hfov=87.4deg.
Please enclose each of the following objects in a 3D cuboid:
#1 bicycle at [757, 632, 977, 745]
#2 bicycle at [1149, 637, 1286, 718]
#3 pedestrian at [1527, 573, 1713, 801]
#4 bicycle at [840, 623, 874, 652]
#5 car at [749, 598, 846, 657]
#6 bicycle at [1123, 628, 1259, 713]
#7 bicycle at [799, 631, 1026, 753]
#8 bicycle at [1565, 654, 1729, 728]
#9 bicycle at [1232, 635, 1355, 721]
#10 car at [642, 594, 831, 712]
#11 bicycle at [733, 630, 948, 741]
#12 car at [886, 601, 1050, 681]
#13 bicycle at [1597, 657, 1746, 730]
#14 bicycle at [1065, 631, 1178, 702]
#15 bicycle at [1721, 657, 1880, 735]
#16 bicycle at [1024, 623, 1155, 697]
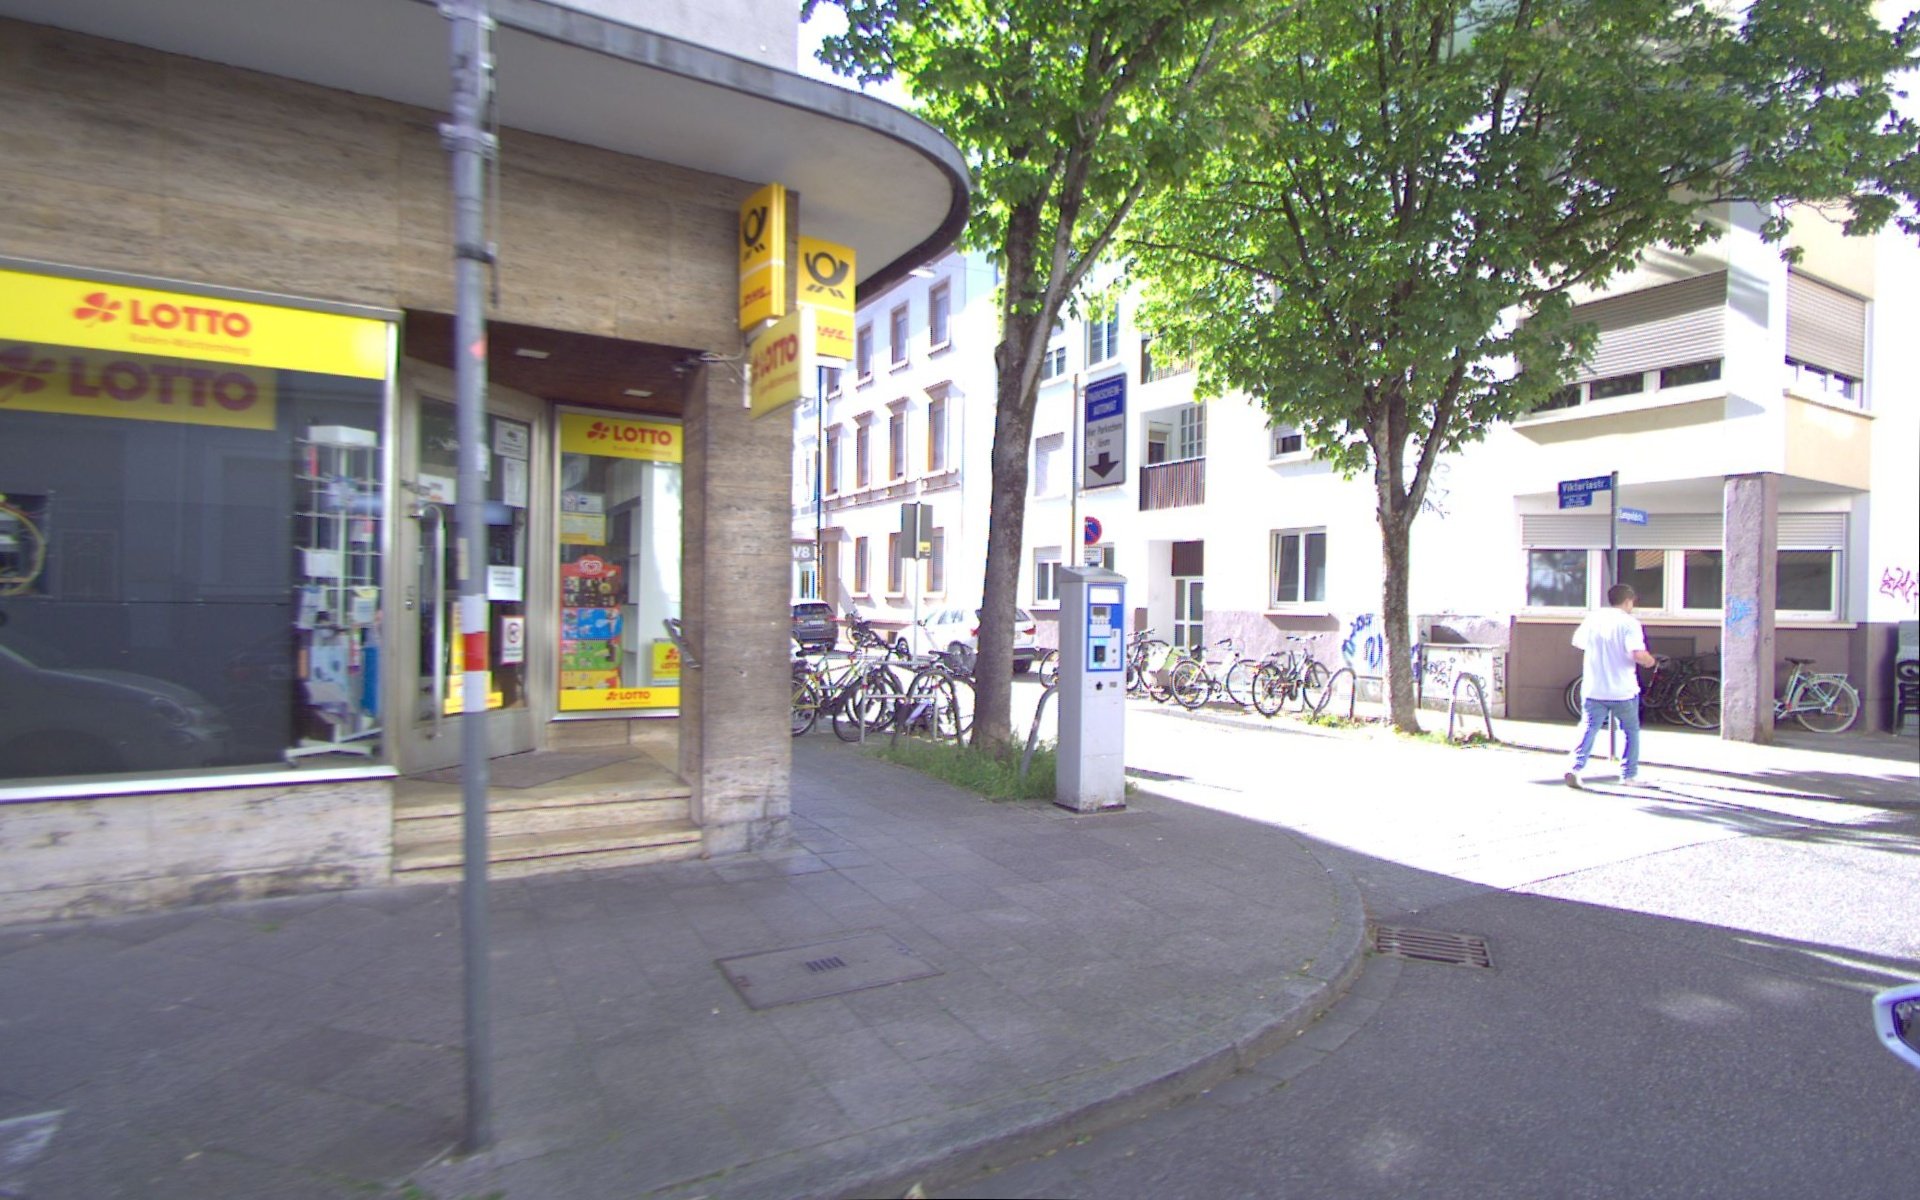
[{"bbox_3d":[-0.977,0.940,10.986,2.376,1.132,0.519,2,-1,-31],"label":"bicycle"},{"bbox_3d":[3.916,1.139,15.203,2.155,1.043,0.637,-2,1,-29],"label":"bicycle"},{"bbox_3d":[5.829,0.725,8.881,1.231,1.857,0.906,2,-1,-30],"label":"pedestrian"},{"bbox_3d":[-3.398,1.208,32.924,0.455,0.863,1.854,0,0,-28],"label":"bicycle"},{"bbox_3d":[-5.302,0.830,32.283,1.842,1.715,4.210,-1,0,-27],"label":"car"},{"bbox_3d":[3.668,1.074,15.828,2.411,1.201,0.500,-1,-1,-31],"label":"bicycle"},{"bbox_3d":[-0.470,0.930,10.512,2.280,1.158,0.704,2,-1,-30],"label":"bicycle"},{"bbox_3d":[9.229,1.215,13.541,1.825,0.925,0.383,1,-1,11],"label":"bicycle"},{"bbox_3d":[4.789,1.086,14.369,2.039,1.116,0.479,0,0,-31],"label":"bicycle"},{"bbox_3d":[-3.699,0.777,16.045,1.878,1.607,4.210,3,-2,-27],"label":"car"},{"bbox_3d":[-1.319,0.943,11.475,2.408,1.142,0.701,3,-2,-38],"label":"bicycle"},{"bbox_3d":[0.077,0.849,22.665,1.971,1.635,4.142,0,0,-28],"label":"car"},{"bbox_3d":[9.258,1.209,13.113,1.553,0.909,0.404,0,-1,11],"label":"bicycle"},{"bbox_3d":[2.843,1.133,17.562,1.974,1.081,0.676,-2,1,-31],"label":"bicycle"},{"bbox_3d":[10.839,1.229,12.990,1.538,0.894,0.431,1,1,10],"label":"bicycle"},{"bbox_3d":[2.420,1.067,18.588,2.394,1.162,0.830,-3,1,-31],"label":"bicycle"}]
